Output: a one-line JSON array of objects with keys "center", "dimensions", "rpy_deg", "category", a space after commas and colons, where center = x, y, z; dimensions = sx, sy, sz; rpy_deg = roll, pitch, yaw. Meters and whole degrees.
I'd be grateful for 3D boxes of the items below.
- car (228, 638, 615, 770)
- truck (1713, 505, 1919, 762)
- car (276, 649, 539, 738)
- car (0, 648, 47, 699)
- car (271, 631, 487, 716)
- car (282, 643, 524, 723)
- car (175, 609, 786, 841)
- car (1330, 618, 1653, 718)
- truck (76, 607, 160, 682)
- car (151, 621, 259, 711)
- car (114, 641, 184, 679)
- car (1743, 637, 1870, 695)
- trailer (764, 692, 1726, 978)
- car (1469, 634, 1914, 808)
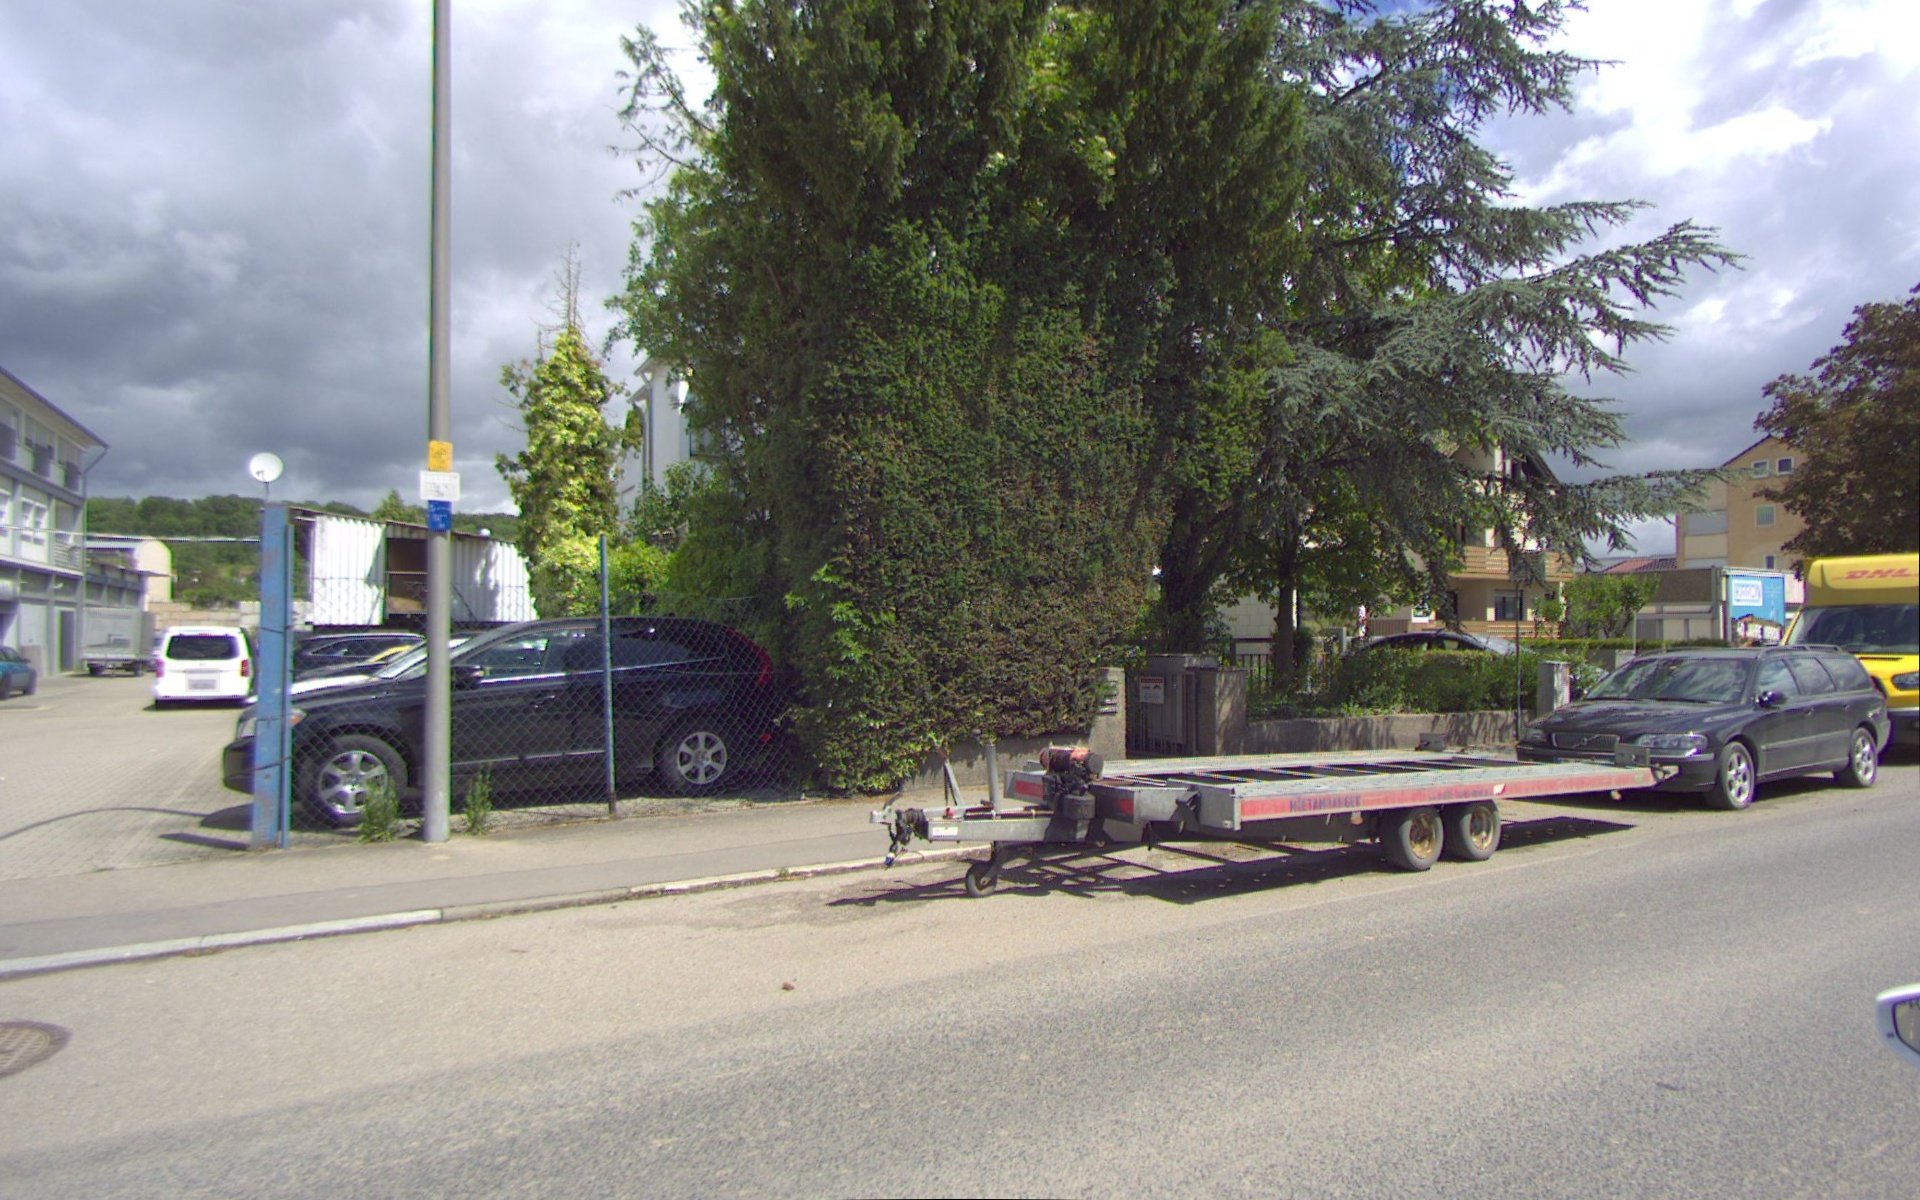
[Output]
[{"center": [-7.188, 1.293, 13.712], "dimensions": [4.400, 1.526, 1.797], "rpy_deg": [1, -3, -33], "category": "car"}, {"center": [14.218, 0.546, 14.742], "dimensions": [7.731, 3.042, 2.312], "rpy_deg": [1, -4, -32], "category": "truck"}, {"center": [-9.829, 1.602, 18.020], "dimensions": [3.913, 1.402, 1.617], "rpy_deg": [2, -4, -39], "category": "car"}, {"center": [-26.292, 1.935, 26.939], "dimensions": [1.978, 1.313, 3.966], "rpy_deg": [1, -3, -32], "category": "car"}, {"center": [-12.895, 1.590, 22.428], "dimensions": [4.009, 1.745, 1.797], "rpy_deg": [2, -3, -33], "category": "car"}, {"center": [-11.389, 1.637, 20.701], "dimensions": [4.197, 1.489, 1.797], "rpy_deg": [2, -3, -33], "category": "car"}, {"center": [-4.059, 0.975, 9.122], "dimensions": [4.578, 1.656, 1.799], "rpy_deg": [1, -3, -30], "category": "car"}, {"center": [9.500, 1.158, 18.443], "dimensions": [1.950, 1.572, 4.983], "rpy_deg": [2, -2, -31], "category": "car"}, {"center": [-34.133, 1.805, 40.838], "dimensions": [2.068, 2.863, 3.964], "rpy_deg": [1, -3, -33], "category": "truck"}, {"center": [-18.872, 1.606, 25.269], "dimensions": [1.980, 2.053, 4.096], "rpy_deg": [2, -3, -35], "category": "car"}, {"center": [-36.280, 2.662, 45.034], "dimensions": [1.928, 1.594, 3.966], "rpy_deg": [1, -3, -32], "category": "car"}, {"center": [24.404, 1.851, 28.944], "dimensions": [4.045, 1.563, 1.756], "rpy_deg": [2, -3, -34], "category": "car"}, {"center": [2.482, 1.302, 7.322], "dimensions": [7.371, 1.003, 2.308], "rpy_deg": [1, -4, -30], "category": "trailer"}, {"center": [7.790, 1.169, 10.618], "dimensions": [4.755, 1.471, 1.986], "rpy_deg": [1, -6, -30], "category": "car"}]
